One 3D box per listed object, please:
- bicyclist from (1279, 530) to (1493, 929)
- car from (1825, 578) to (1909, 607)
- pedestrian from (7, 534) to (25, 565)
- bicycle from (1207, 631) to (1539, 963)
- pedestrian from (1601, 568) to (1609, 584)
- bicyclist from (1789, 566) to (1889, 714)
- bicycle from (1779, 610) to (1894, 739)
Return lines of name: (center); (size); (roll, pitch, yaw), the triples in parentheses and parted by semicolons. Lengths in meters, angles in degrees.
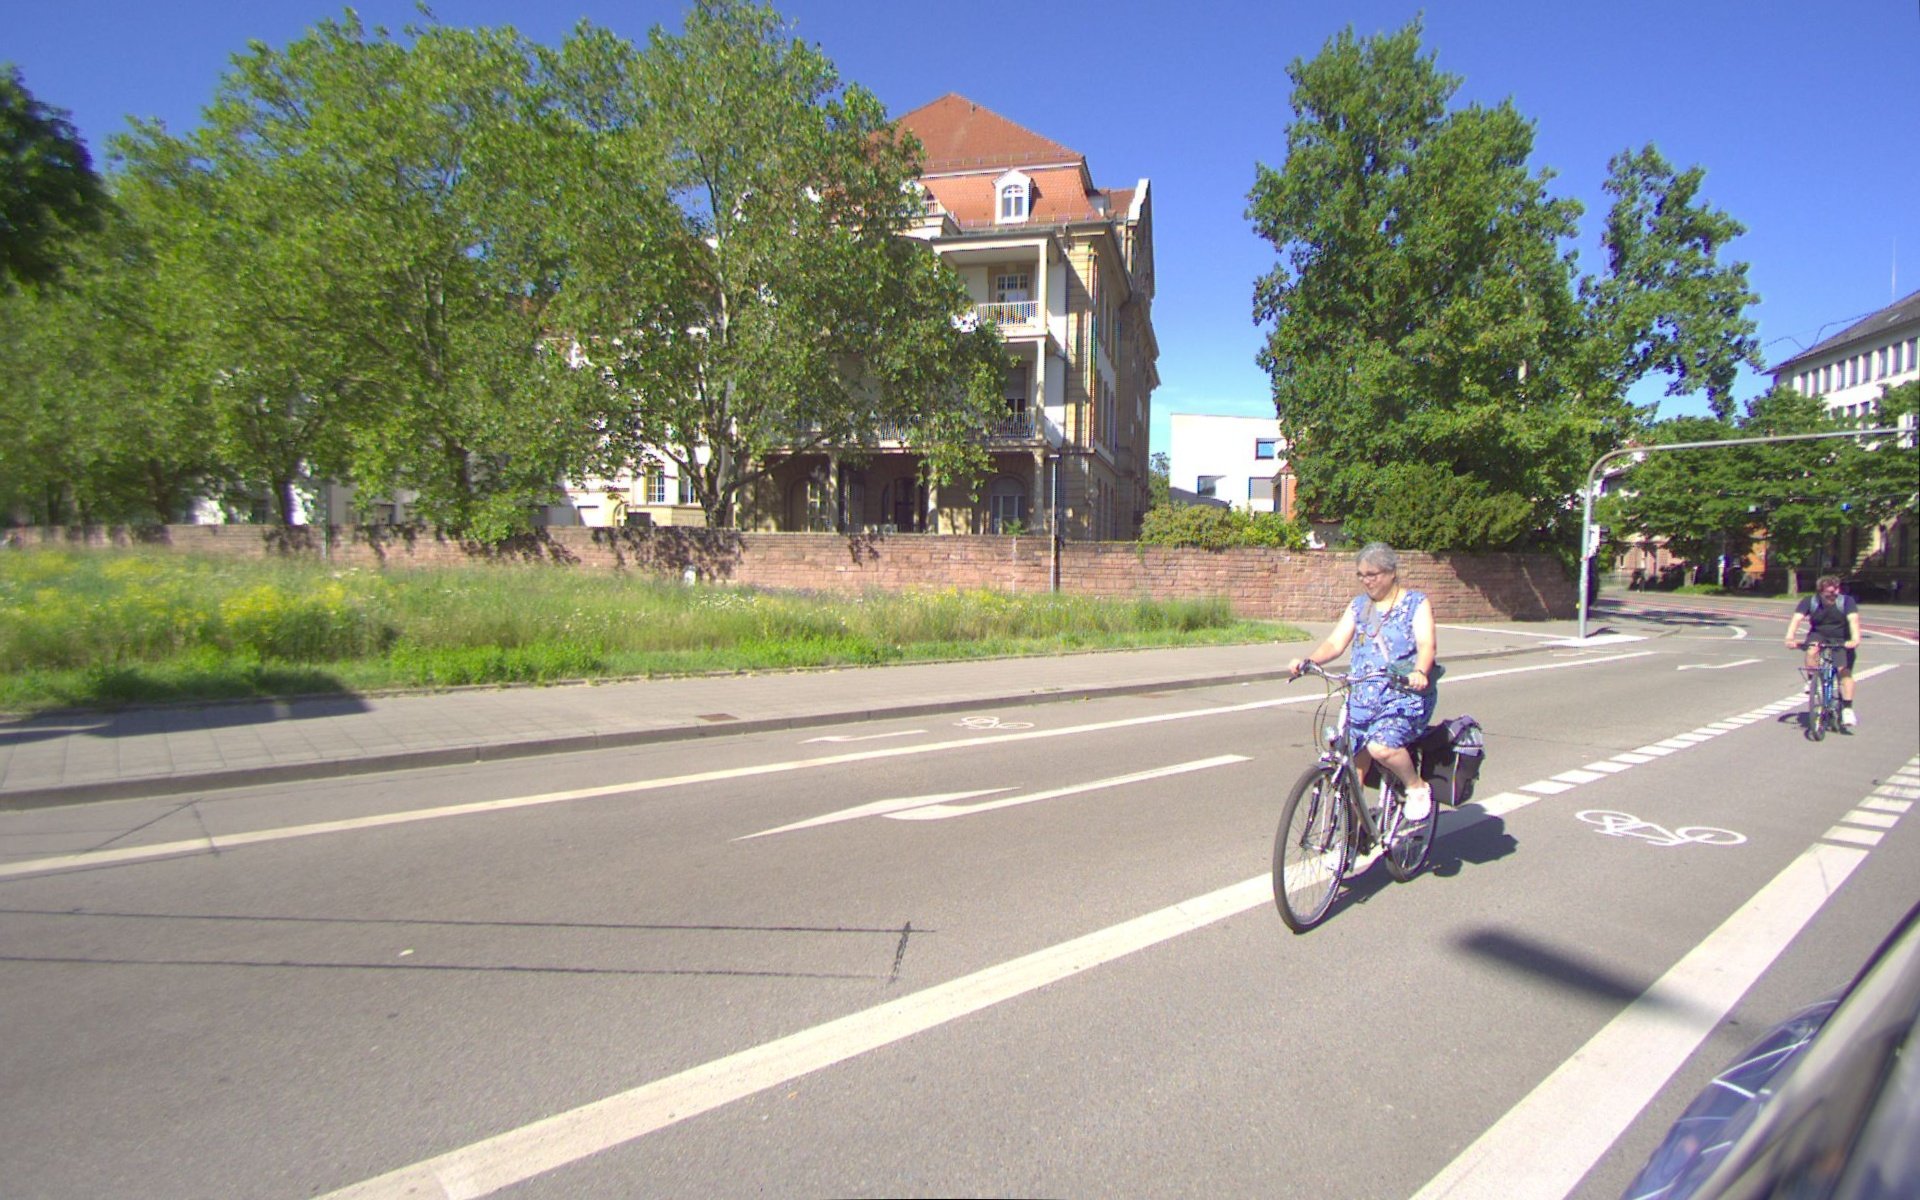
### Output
bicyclist: (1.998, 0.530, 4.753); (0.763, 1.683, 0.642); (-1, 2, -41)
car: (61.194, -0.529, 68.344); (3.731, 1.838, 1.999); (1, 2, 3)
pedestrian: (-49.140, -2.624, 52.675); (0.642, 1.631, 0.557); (-1, 0, -42)
bicycle: (2.008, 0.787, 4.767); (1.934, 1.179, 0.642); (-1, 2, -41)
pedestrian: (64.149, -2.372, 100.640); (0.630, 1.631, 0.838); (0, 0, 28)
bicyclist: (9.113, 0.384, 10.486); (0.936, 1.462, 0.642); (0, 1, -41)
bicycle: (9.086, 0.716, 10.467); (1.837, 1.179, 0.642); (0, 1, -41)
